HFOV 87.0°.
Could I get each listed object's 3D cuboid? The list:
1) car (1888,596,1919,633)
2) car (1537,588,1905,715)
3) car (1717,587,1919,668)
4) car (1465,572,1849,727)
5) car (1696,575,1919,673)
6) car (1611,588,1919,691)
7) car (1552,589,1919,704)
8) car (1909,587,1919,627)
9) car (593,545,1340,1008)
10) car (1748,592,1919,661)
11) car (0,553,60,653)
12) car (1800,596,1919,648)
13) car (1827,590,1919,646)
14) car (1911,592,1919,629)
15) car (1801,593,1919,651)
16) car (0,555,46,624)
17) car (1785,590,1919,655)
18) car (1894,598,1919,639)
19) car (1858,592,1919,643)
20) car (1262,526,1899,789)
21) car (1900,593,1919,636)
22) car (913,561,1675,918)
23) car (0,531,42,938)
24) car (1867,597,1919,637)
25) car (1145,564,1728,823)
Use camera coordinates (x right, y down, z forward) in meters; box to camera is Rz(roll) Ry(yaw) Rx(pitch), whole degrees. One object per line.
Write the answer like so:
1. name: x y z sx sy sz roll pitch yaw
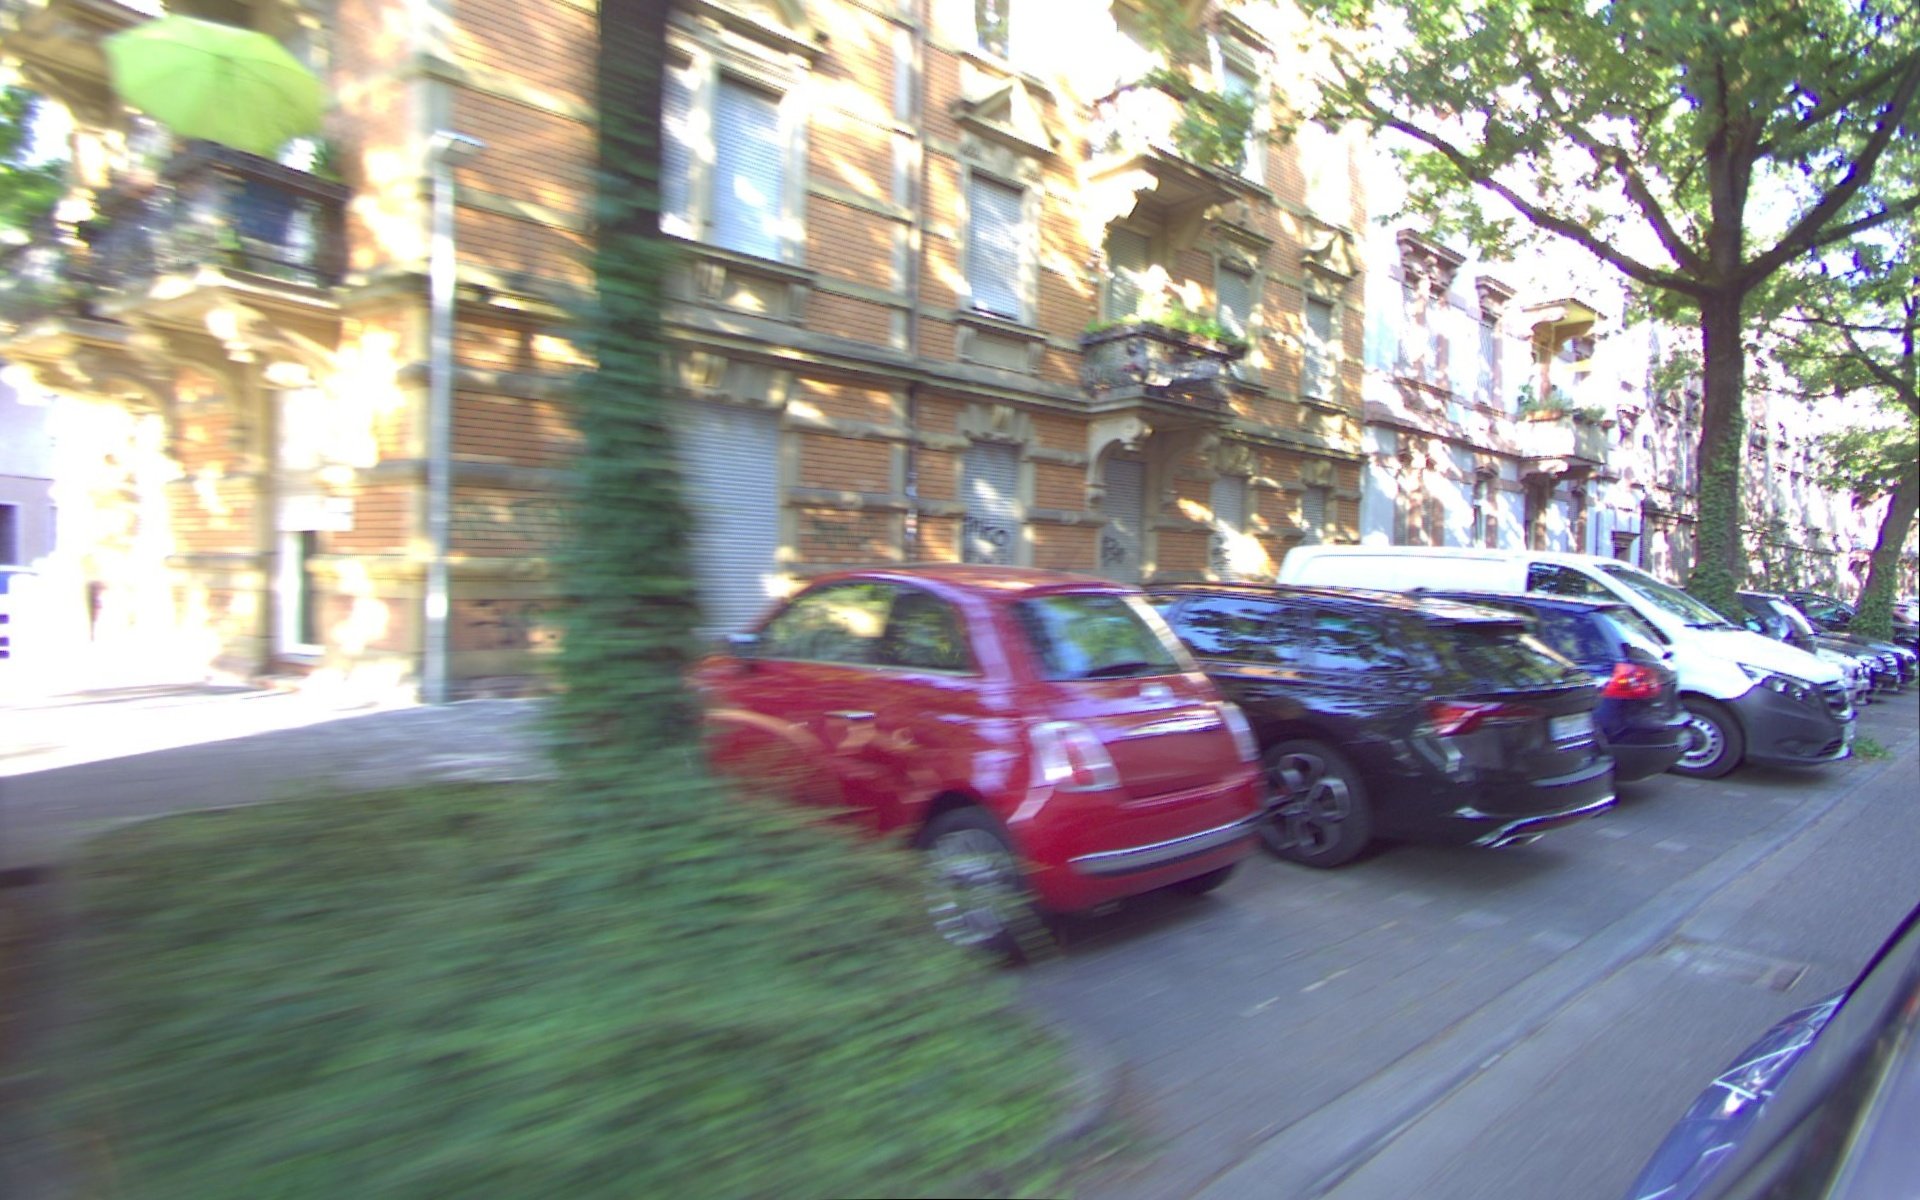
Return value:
1. car: 40.586 0.697 41.028 1.903 1.472 4.154 1 3 -41
2. car: 11.274 0.658 15.240 1.778 1.521 4.115 1 2 -39
3. car: 20.061 0.582 23.261 1.753 1.610 3.991 1 2 -44
4. car: 9.069 0.523 13.397 1.696 1.669 3.890 1 2 -43
5. car: 18.425 0.479 21.124 1.850 1.723 4.651 1 3 -44
6. car: 15.010 0.623 18.754 1.964 1.548 4.564 1 2 -39
7. car: 12.857 0.660 16.969 1.898 1.521 4.669 1 2 -40
8. car: 48.135 0.528 47.594 2.140 1.924 4.927 1 4 -44
9. car: -0.330 0.500 5.477 1.811 1.516 4.090 1 2 -40
10. car: 22.036 0.631 24.874 1.753 1.480 3.991 0 2 -44
11. car: -15.124 -0.034 15.620 1.820 1.389 4.404 0 2 -42
12. car: 28.997 0.674 31.491 1.769 1.488 4.110 1 1 -39
13. car: 31.167 0.595 32.776 1.859 1.676 4.483 -1 3 -41
14. car: 46.132 0.684 45.367 2.044 1.652 4.927 1 4 -44
15. car: 27.326 0.645 29.410 1.771 1.555 4.227 1 1 -43
16. car: -21.375 -0.274 21.998 3.985 1.389 1.824 3 2 42
17. car: 24.257 0.617 26.372 1.648 1.404 3.997 1 4 -41
18. car: 37.196 0.750 37.210 1.657 1.474 3.996 1 1 -40
19. car: 33.629 0.634 34.307 1.857 1.676 4.487 -1 3 -39
20. car: 5.871 0.297 10.240 2.121 1.963 5.103 -4 5 -40
21. car: 42.674 0.698 42.697 1.910 1.810 4.136 1 1 -39
22. car: 1.787 0.536 6.630 1.899 1.473 4.379 0 2 -40
23. car: -3.539 0.522 2.190 1.855 1.466 4.000 1 2 -36
24. car: 38.438 0.691 39.774 1.659 1.513 3.992 1 1 -43
25. car: 3.731 0.540 8.357 3.986 1.492 1.755 4 3 42
